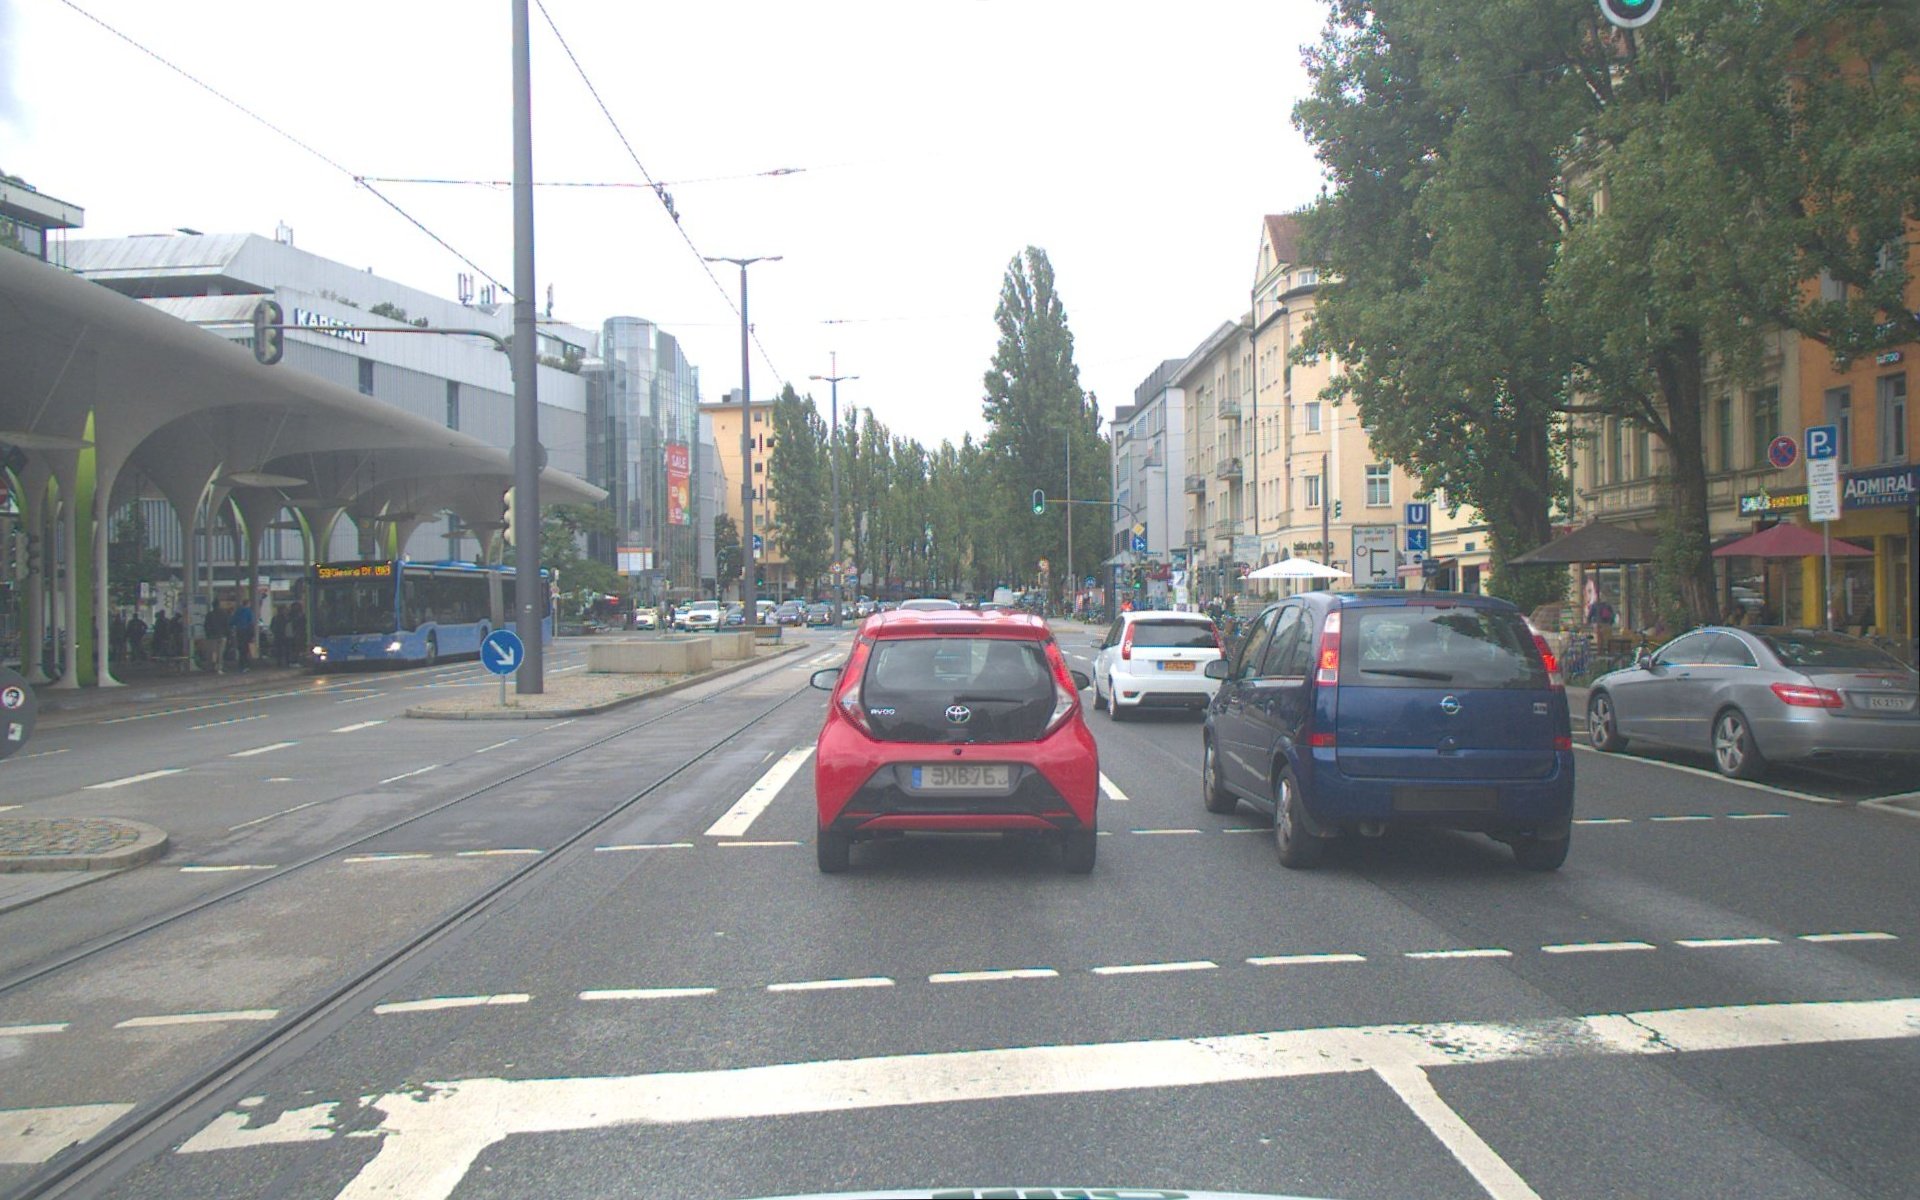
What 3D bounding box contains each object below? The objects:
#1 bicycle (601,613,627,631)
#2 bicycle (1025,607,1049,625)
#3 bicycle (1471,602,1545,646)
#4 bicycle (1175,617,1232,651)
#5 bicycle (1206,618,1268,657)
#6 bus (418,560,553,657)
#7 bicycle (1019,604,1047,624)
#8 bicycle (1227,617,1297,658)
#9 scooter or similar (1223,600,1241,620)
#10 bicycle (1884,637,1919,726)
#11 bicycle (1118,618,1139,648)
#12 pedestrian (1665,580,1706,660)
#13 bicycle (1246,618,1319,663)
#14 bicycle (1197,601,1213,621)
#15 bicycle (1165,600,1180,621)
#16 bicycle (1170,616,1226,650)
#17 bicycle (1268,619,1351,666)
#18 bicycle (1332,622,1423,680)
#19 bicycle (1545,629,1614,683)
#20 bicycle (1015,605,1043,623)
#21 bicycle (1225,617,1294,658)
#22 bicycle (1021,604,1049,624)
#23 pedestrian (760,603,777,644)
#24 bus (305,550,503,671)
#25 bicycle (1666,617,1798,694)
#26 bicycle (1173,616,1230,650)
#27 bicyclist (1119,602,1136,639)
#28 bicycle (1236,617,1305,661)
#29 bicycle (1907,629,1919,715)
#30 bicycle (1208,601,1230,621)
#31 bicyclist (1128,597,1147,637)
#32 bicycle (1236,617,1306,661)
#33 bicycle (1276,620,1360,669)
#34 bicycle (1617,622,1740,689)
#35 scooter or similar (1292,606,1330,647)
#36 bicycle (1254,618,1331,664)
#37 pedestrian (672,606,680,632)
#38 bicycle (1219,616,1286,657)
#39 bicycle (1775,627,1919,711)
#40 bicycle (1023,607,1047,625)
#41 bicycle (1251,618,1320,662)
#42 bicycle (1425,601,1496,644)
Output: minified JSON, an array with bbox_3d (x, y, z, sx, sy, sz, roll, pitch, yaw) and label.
[{"bbox_3d":[-21.677,1.369,103.706,1.541,1.131,0.373,-1,0,3],"label":"bicycle"},{"bbox_3d":[4.651,0.976,100.326,0.495,1.046,1.576,-1,0,-43],"label":"bicycle"},{"bbox_3d":[13.477,0.577,40.714,1.685,1.064,0.388,0,1,10],"label":"bicycle"},{"bbox_3d":[7.412,1.038,50.421,1.810,1.013,0.346,-2,-1,43],"label":"bicycle"},{"bbox_3d":[7.720,1.044,46.125,1.807,1.013,0.323,1,1,40],"label":"bicycle"},{"bbox_3d":[-16.444,0.282,57.895,2.607,3.060,7.511,-3,0,-1],"label":"bus"},{"bbox_3d":[4.561,0.875,103.234,1.769,1.178,0.546,-1,0,37],"label":"bicycle"},{"bbox_3d":[7.752,0.959,42.517,1.805,1.013,0.324,1,1,36],"label":"bicycle"},{"bbox_3d":[14.596,0.524,88.823,0.805,1.011,0.592,-2,3,-9],"label":"scooter or similar"},{"bbox_3d":[11.194,0.932,18.661,0.577,0.982,1.653,-1,0,-1],"label":"bicycle"},{"bbox_3d":[7.663,1.491,75.324,0.601,1.287,2.518,-1,0,-3],"label":"bicycle"},{"bbox_3d":[16.185,0.442,36.884,0.588,1.770,0.666,-1,0,-1],"label":"pedestrian"},{"bbox_3d":[7.732,0.958,39.685,1.809,1.013,0.323,1,1,42],"label":"bicycle"},{"bbox_3d":[13.593,0.600,91.787,0.485,1.077,1.864,-1,0,-5],"label":"bicycle"},{"bbox_3d":[11.736,0.568,91.522,0.555,1.127,1.866,-1,0,-1],"label":"bicycle"},{"bbox_3d":[7.439,1.038,51.740,1.807,1.013,0.346,-2,-1,39],"label":"bicycle"},{"bbox_3d":[7.965,0.960,37.709,1.799,1.013,0.375,0,1,23],"label":"bicycle"},{"bbox_3d":[7.910,0.961,31.370,0.372,1.013,1.816,-1,1,-39],"label":"bicycle"},{"bbox_3d":[11.077,0.990,29.627,0.448,0.907,1.893,-1,0,-2],"label":"bicycle"},{"bbox_3d":[4.417,0.894,106.040,1.765,1.178,0.486,-1,0,30],"label":"bicycle"},{"bbox_3d":[7.804,0.960,43.121,1.805,1.013,0.324,1,1,36],"label":"bicycle"},{"bbox_3d":[4.635,0.881,101.842,1.773,1.219,0.555,-1,0,43],"label":"bicycle"},{"bbox_3d":[-7.799,0.951,67.369,0.482,1.647,0.551,-1,0,-35],"label":"pedestrian"},{"bbox_3d":[-16.116,0.288,48.876,2.607,3.060,10.509,-3,0,-3],"label":"bus"},{"bbox_3d":[12.495,0.888,26.782,1.848,1.194,0.582,-1,0,1],"label":"bicycle"},{"bbox_3d":[7.451,1.038,51.086,1.807,1.013,0.346,-2,-1,39],"label":"bicycle"},{"bbox_3d":[7.635,0.925,75.460,0.601,1.686,1.250,-1,0,-3],"label":"bicyclist"},{"bbox_3d":[7.635,0.956,40.709,0.323,1.013,1.812,-1,2,-44],"label":"bicycle"},{"bbox_3d":[13.761,0.953,22.221,1.850,1.133,0.458,-1,0,-4],"label":"bicycle"},{"bbox_3d":[14.402,0.609,92.085,0.486,1.077,1.858,-1,0,-15],"label":"bicycle"},{"bbox_3d":[8.587,0.803,79.989,0.747,1.902,1.133,-1,0,0],"label":"bicyclist"},{"bbox_3d":[7.736,0.958,41.153,1.809,1.013,0.323,1,1,42],"label":"bicycle"},{"bbox_3d":[7.839,0.960,36.255,1.806,1.013,0.374,1,1,37],"label":"bicycle"},{"bbox_3d":[11.994,0.922,27.637,1.848,1.072,0.458,-1,0,1],"label":"bicycle"},{"bbox_3d":[9.808,0.734,46.245,0.760,1.094,1.256,-1,0,-3],"label":"scooter or similar"},{"bbox_3d":[7.838,0.960,39.035,1.802,1.013,0.324,1,1,32],"label":"bicycle"},{"bbox_3d":[-19.711,1.300,114.829,0.436,1.790,0.356,-1,0,17],"label":"pedestrian"},{"bbox_3d":[7.749,0.959,43.889,1.805,1.013,0.324,1,1,36],"label":"bicycle"},{"bbox_3d":[11.931,0.913,22.140,1.850,1.072,0.458,-1,0,-4],"label":"bicycle"},{"bbox_3d":[4.565,0.972,101.181,0.495,1.046,1.576,-1,0,-43],"label":"bicycle"},{"bbox_3d":[7.877,0.961,40.096,0.322,1.013,1.813,-1,2,-43],"label":"bicycle"},{"bbox_3d":[12.566,0.557,41.554,1.690,1.064,0.387,0,1,-7],"label":"bicycle"}]
